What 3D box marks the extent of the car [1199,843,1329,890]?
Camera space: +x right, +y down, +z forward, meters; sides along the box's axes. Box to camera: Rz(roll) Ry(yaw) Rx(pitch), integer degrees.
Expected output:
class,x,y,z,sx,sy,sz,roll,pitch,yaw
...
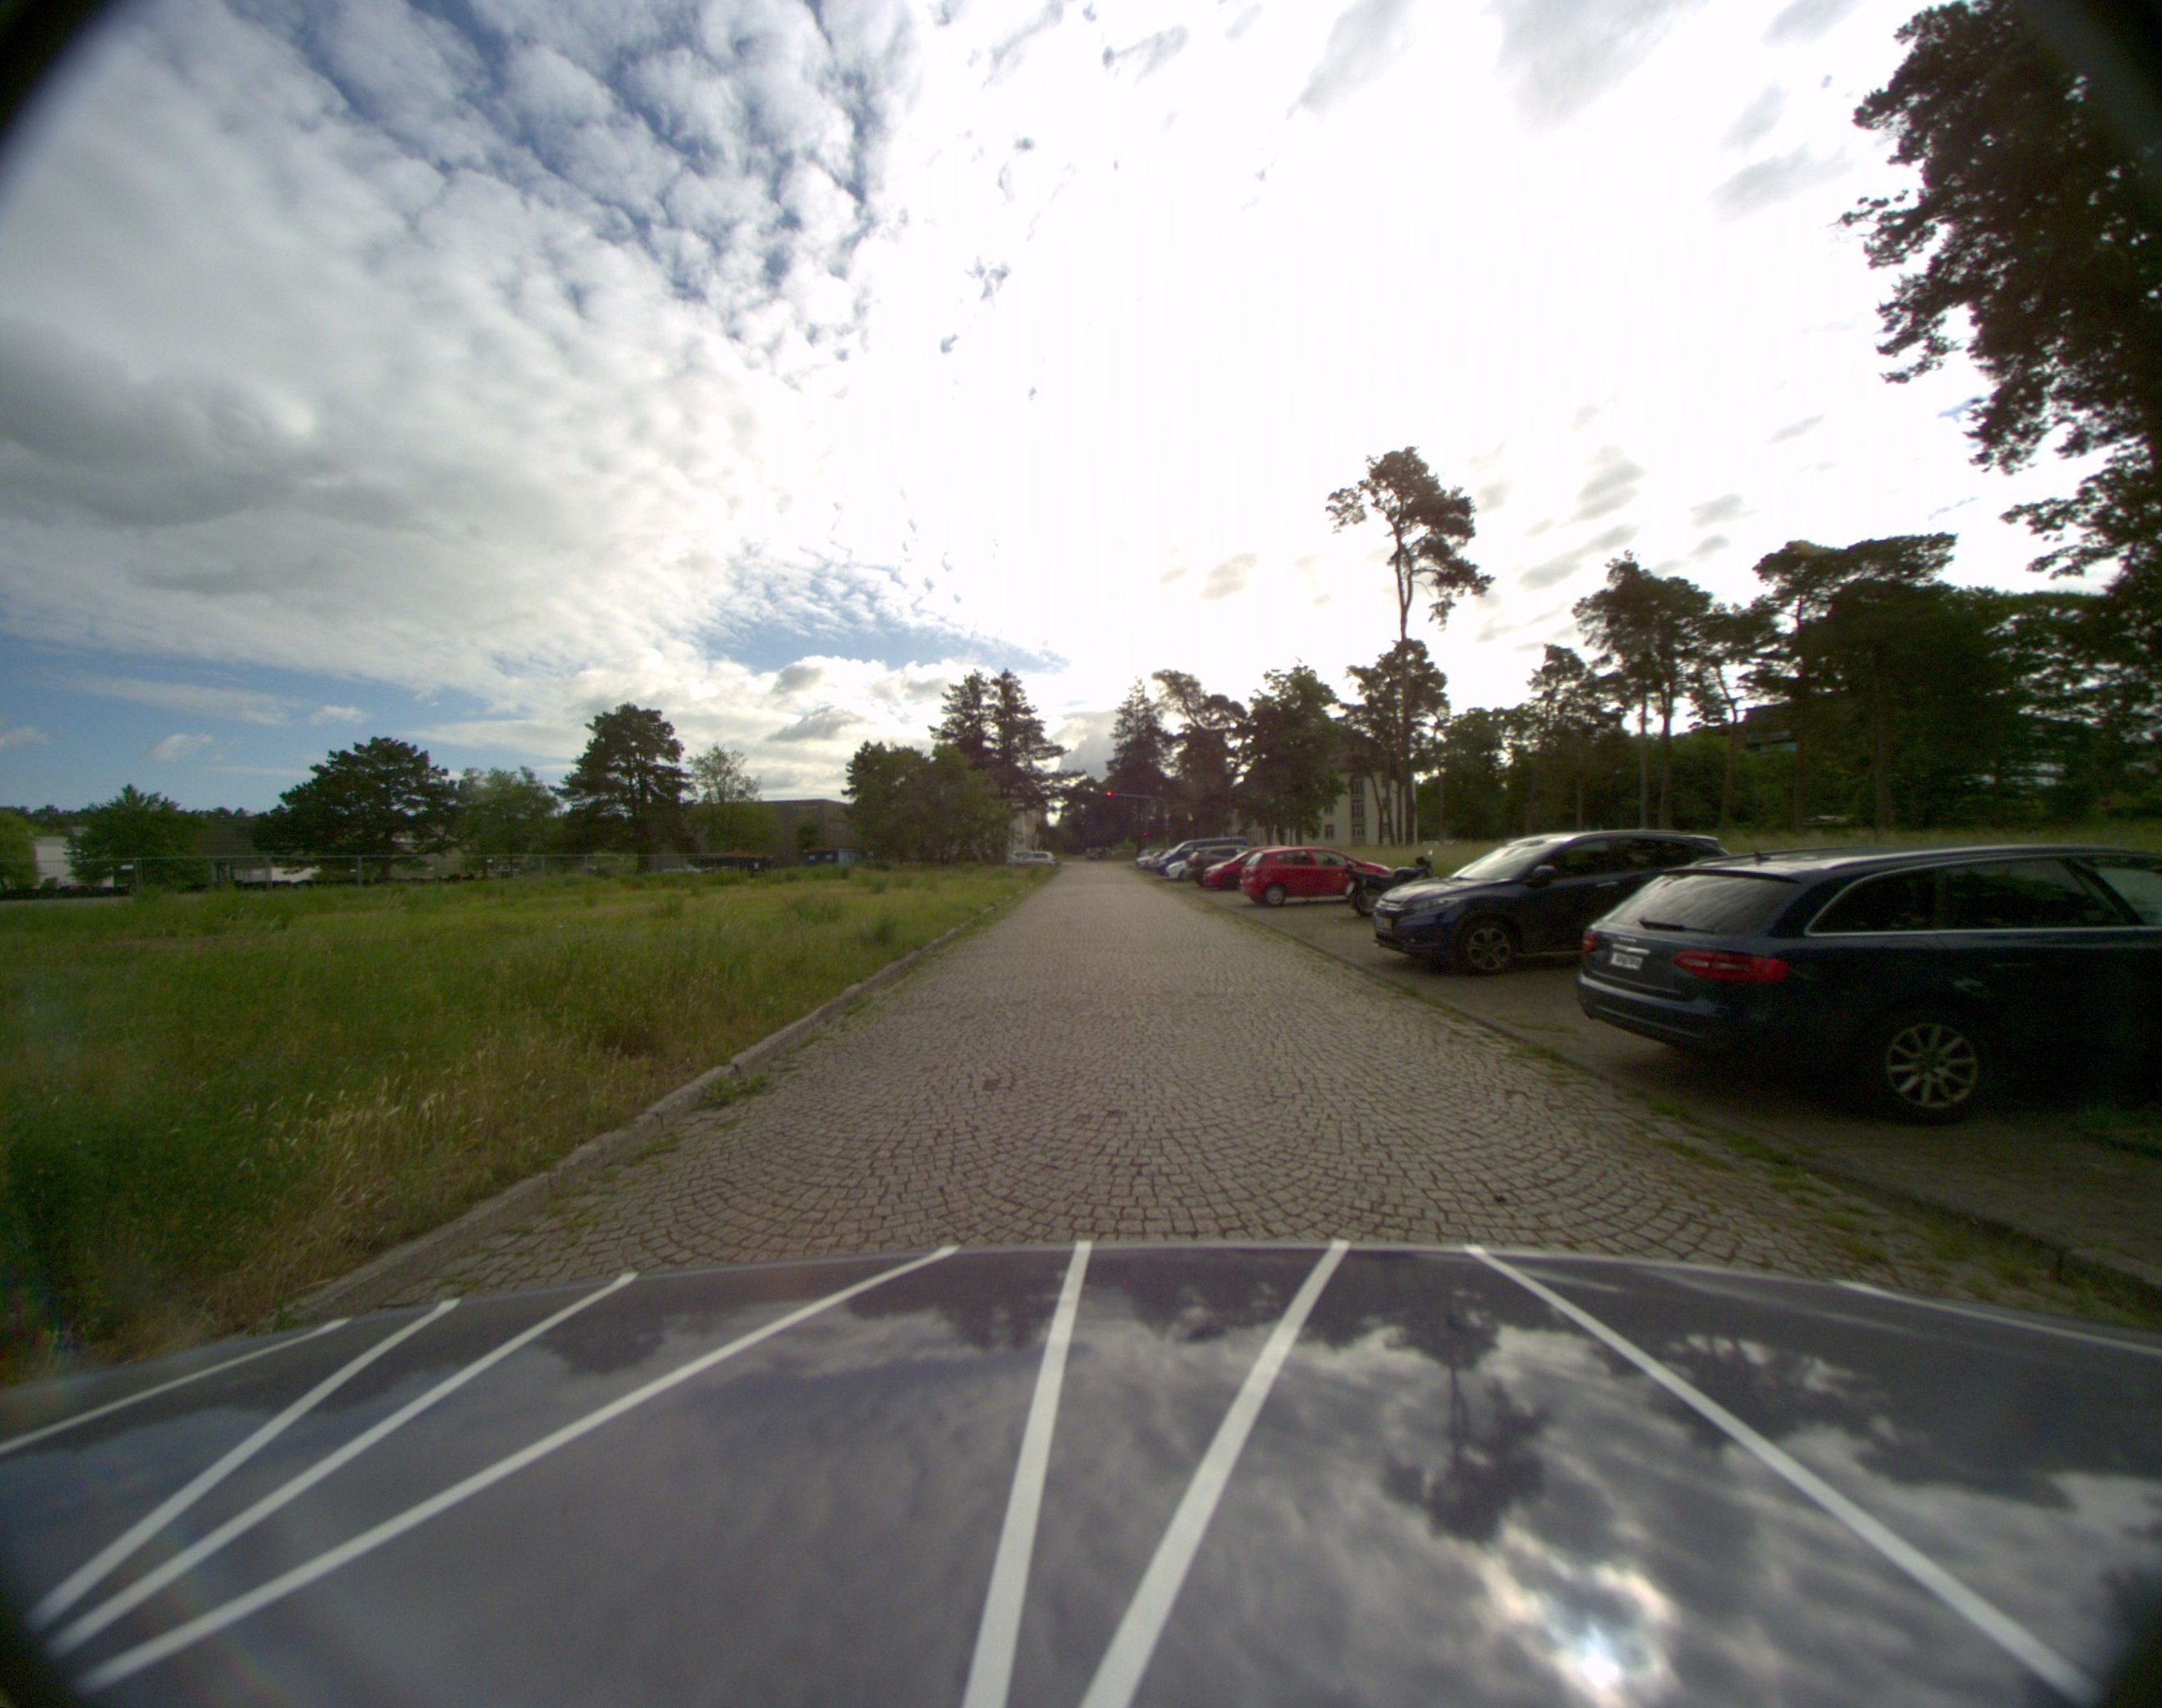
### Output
class,x,y,z,sx,sy,sz,roll,pitch,yaw
car,6.507,0.418,27.324,4.177,1.501,1.907,-2,1,0

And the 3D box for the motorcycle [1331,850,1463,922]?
class,x,y,z,sx,sy,sz,roll,pitch,yaw
motorcycle,6.299,0.625,15.222,2.280,1.284,0.719,-3,1,2

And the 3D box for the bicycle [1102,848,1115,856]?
class,x,y,z,sx,sy,sz,roll,pitch,yaw
bicycle,4.075,-0.356,112.109,1.950,1.104,0.562,-2,1,-1

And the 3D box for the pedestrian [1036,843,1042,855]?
class,x,y,z,sx,sy,sz,roll,pitch,yaw
pedestrian,-6.985,-0.854,125.596,0.589,1.926,0.792,-3,1,-32

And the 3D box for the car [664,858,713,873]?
class,x,y,z,sx,sy,sz,roll,pitch,yaw
car,-41.448,1.186,80.297,3.998,1.474,1.972,-2,1,-2

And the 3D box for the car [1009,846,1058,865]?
class,x,y,z,sx,sy,sz,roll,pitch,yaw
car,-4.188,0.114,67.357,4.251,1.587,1.884,1,1,-3

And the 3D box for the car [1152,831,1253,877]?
class,x,y,z,sx,sy,sz,roll,pitch,yaw
car,6.147,-0.007,38.945,4.794,2.110,2.115,-2,1,0

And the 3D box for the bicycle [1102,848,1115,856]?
class,x,y,z,sx,sy,sz,roll,pitch,yaw
bicycle,4.013,-0.317,111.556,1.898,1.059,0.616,-2,1,-1

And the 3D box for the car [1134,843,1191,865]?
class,x,y,z,sx,sy,sz,roll,pitch,yaw
car,6.421,0.000,60.076,4.262,1.539,1.935,-2,1,-3

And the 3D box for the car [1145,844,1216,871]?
class,x,y,z,sx,sy,sz,roll,pitch,yaw
car,6.126,0.212,47.085,4.176,1.483,1.865,-2,1,2

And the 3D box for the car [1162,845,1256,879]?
class,x,y,z,sx,sy,sz,roll,pitch,yaw
car,6.069,0.365,36.364,4.177,1.501,1.781,-2,1,-1

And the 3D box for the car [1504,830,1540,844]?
class,x,y,z,sx,sy,sz,roll,pitch,yaw
car,60.372,-2.337,104.046,3.996,1.796,1.722,-2,1,4

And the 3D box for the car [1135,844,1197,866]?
class,x,y,z,sx,sy,sz,roll,pitch,yaw
car,6.367,0.048,57.333,4.385,1.499,1.935,-2,1,-1

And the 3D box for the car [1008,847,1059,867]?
class,x,y,z,sx,sy,sz,roll,pitch,yaw
car,-3.840,0.213,61.926,4.084,1.506,1.804,1,1,-2

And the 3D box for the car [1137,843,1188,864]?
class,x,y,z,sx,sy,sz,roll,pitch,yaw
car,6.723,-0.042,62.802,3.997,1.534,1.905,-2,1,0

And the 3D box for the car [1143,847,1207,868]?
class,x,y,z,sx,sy,sz,roll,pitch,yaw
car,6.477,0.229,52.665,4.176,1.259,1.831,-2,1,2

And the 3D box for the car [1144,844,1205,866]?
class,x,y,z,sx,sy,sz,roll,pitch,yaw
car,6.749,0.079,55.031,4.176,1.468,1.864,-2,1,0

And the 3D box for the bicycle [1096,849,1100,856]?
class,x,y,z,sx,sy,sz,roll,pitch,yaw
bicycle,2.479,-0.224,108.155,0.459,0.903,1.663,-2,1,4

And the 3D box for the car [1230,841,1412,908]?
class,x,y,z,sx,sy,sz,roll,pitch,yaw
car,6.115,0.493,19.699,4.065,1.516,1.904,-2,1,-1

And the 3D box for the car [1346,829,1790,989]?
class,x,y,z,sx,sy,sz,roll,pitch,yaw
car,5.746,0.603,9.384,4.239,1.568,1.887,-3,1,-1

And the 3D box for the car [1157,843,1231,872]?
class,x,y,z,sx,sy,sz,roll,pitch,yaw
car,6.537,0.197,44.238,4.077,1.489,1.845,-2,1,2

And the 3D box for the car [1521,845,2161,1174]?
class,x,y,z,sx,sy,sz,roll,pitch,yaw
car,5.504,0.777,4.742,4.313,1.452,1.975,-3,1,2

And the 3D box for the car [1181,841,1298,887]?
class,x,y,z,sx,sy,sz,roll,pitch,yaw
car,6.207,0.368,30.069,4.177,1.613,1.986,-2,1,-2

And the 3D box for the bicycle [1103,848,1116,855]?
class,x,y,z,sx,sy,sz,roll,pitch,yaw
bicycle,4.256,-0.366,113.283,1.950,1.059,0.562,-2,1,-1

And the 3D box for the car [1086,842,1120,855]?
class,x,y,z,sx,sy,sz,roll,pitch,yaw
car,3.765,-0.892,129.982,5.366,1.987,2.289,-2,1,-7

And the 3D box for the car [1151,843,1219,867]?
class,x,y,z,sx,sy,sz,roll,pitch,yaw
car,6.800,0.063,50.001,4.176,1.473,1.845,-2,1,2

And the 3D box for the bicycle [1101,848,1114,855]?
class,x,y,z,sx,sy,sz,roll,pitch,yaw
bicycle,4.049,-0.404,114.893,1.950,1.059,0.562,-2,1,-1
